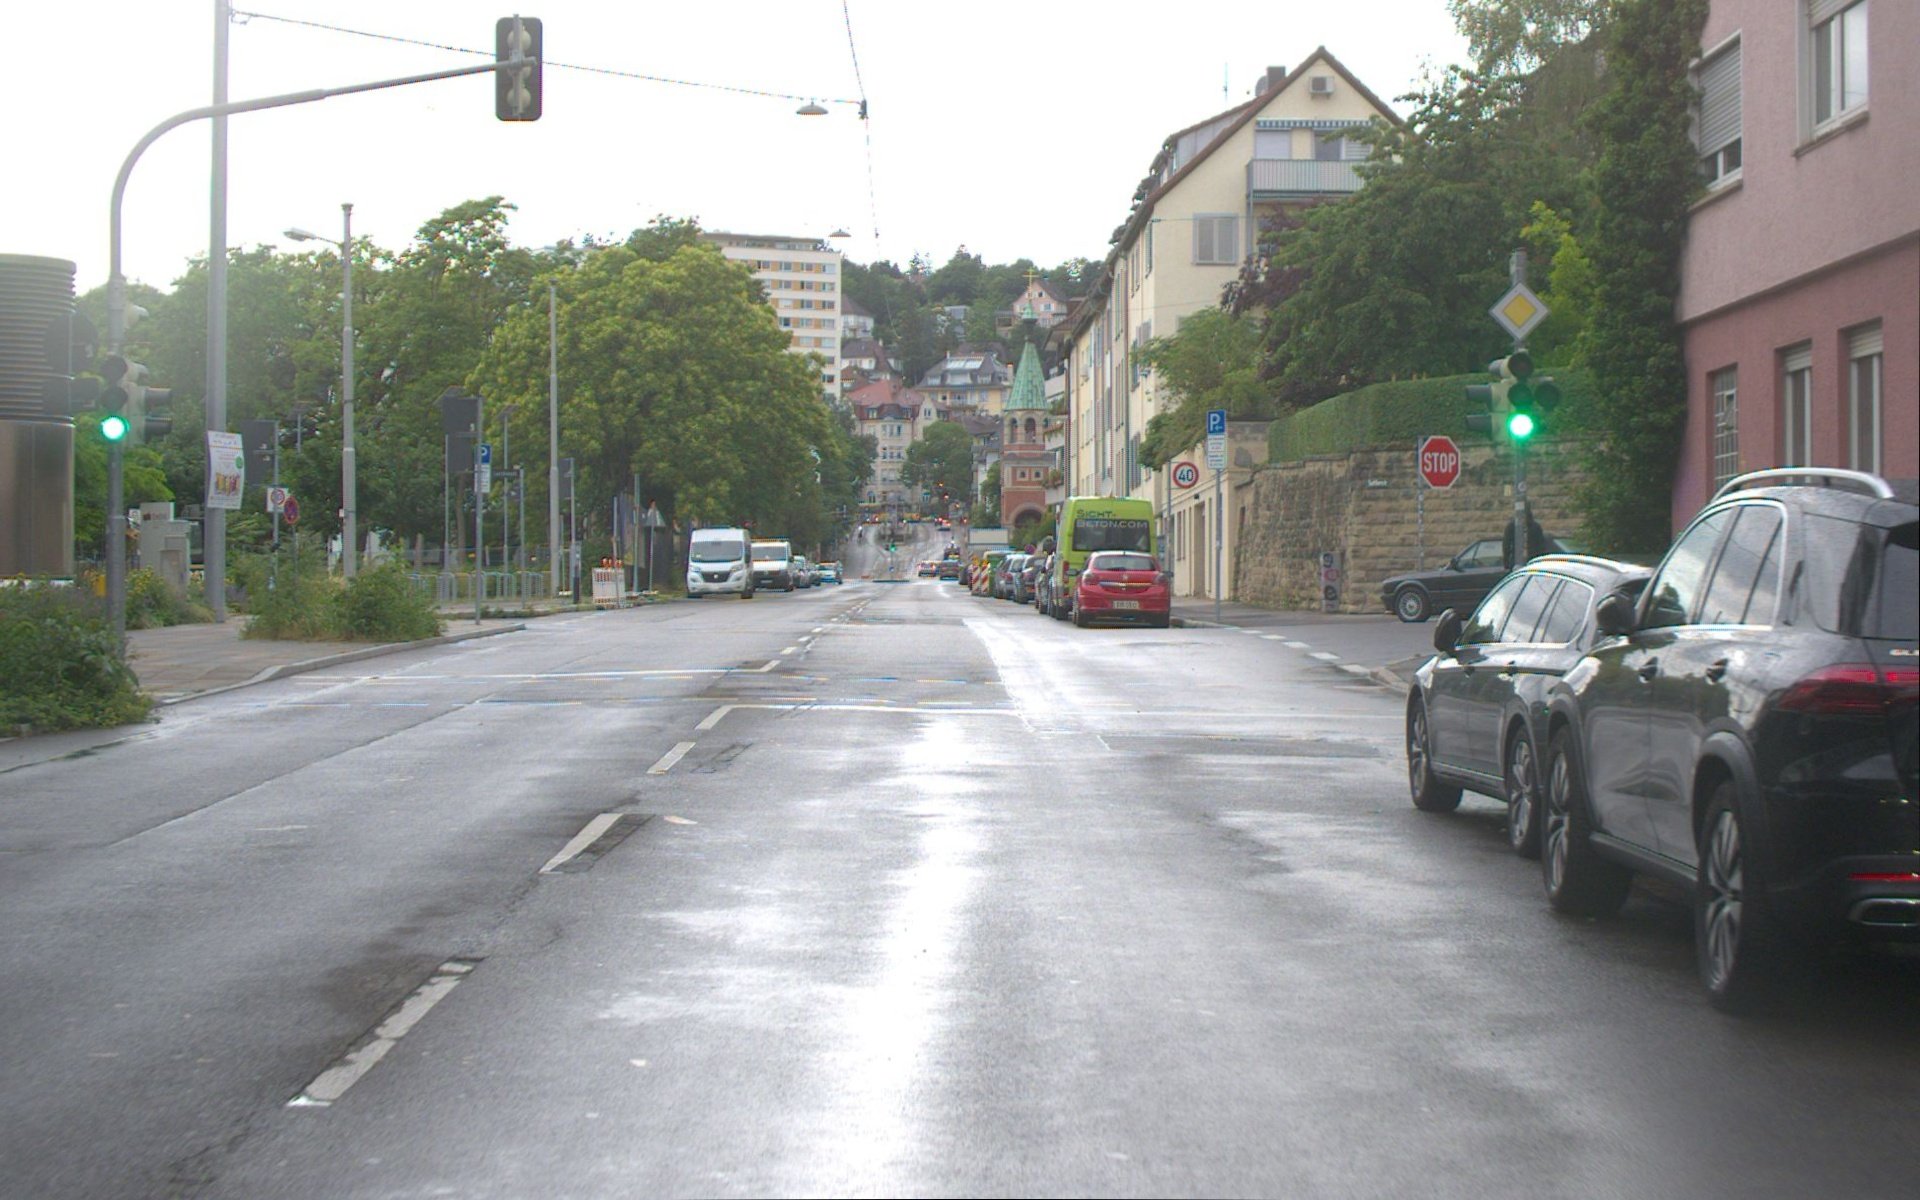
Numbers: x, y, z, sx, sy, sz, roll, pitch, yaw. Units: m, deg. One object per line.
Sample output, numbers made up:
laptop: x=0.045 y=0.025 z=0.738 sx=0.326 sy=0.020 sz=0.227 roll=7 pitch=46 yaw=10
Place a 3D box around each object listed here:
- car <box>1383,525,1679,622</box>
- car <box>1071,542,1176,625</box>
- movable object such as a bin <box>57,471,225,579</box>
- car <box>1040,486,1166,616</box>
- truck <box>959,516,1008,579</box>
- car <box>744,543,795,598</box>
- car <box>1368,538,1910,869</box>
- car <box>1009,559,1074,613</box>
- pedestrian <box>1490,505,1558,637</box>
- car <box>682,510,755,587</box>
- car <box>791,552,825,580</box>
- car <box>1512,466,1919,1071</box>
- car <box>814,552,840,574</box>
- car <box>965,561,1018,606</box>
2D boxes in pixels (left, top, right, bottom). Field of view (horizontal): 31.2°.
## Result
car: x=8.921 y=-0.388 z=53.900 sx=4.274 sy=1.388 sz=1.748 roll=-2 pitch=-1 yaw=42
car: x=3.004 y=-0.326 z=63.822 sx=1.721 sy=1.416 sz=4.203 roll=2 pitch=1 yaw=0
movable object such as a bin: x=-19.359 y=-1.761 z=81.127 sx=1.666 sy=2.451 sz=5.287 roll=0 pitch=1 yaw=-40
car: x=2.873 y=-1.010 z=70.566 sx=2.205 sy=2.455 sz=6.080 roll=2 pitch=1 yaw=0
truck: x=1.193 y=-2.713 z=179.101 sx=2.469 sy=3.161 sz=7.036 roll=1 pitch=0 yaw=0
car: x=-8.805 y=-1.392 z=158.951 sx=2.012 sy=2.478 sz=5.983 roll=0 pitch=1 yaw=0
car: x=3.457 y=0.449 z=18.402 sx=1.792 sy=1.514 sz=4.513 roll=1 pitch=1 yaw=-3
car: x=2.317 y=-0.409 z=98.774 sx=1.629 sy=1.449 sz=3.760 roll=2 pitch=1 yaw=-1
pedestrian: x=7.385 y=-0.383 z=45.019 sx=0.723 sy=1.709 sz=0.905 roll=-1 pitch=1 yaw=0
car: x=-8.368 y=-1.784 z=119.792 sx=2.230 sy=2.570 sz=6.538 roll=-1 pitch=1 yaw=-2
car: x=-7.714 y=-1.732 z=174.660 sx=1.682 sy=1.394 sz=3.911 roll=0 pitch=0 yaw=-2
car: x=3.364 y=0.458 z=12.339 sx=1.963 sy=1.768 sz=4.513 roll=1 pitch=1 yaw=-1
car: x=-8.920 y=-2.462 z=230.338 sx=1.709 sy=1.446 sz=4.294 roll=0 pitch=0 yaw=-2
car: x=1.120 y=-0.598 z=123.068 sx=1.716 sy=1.519 sz=4.000 roll=2 pitch=1 yaw=-1
